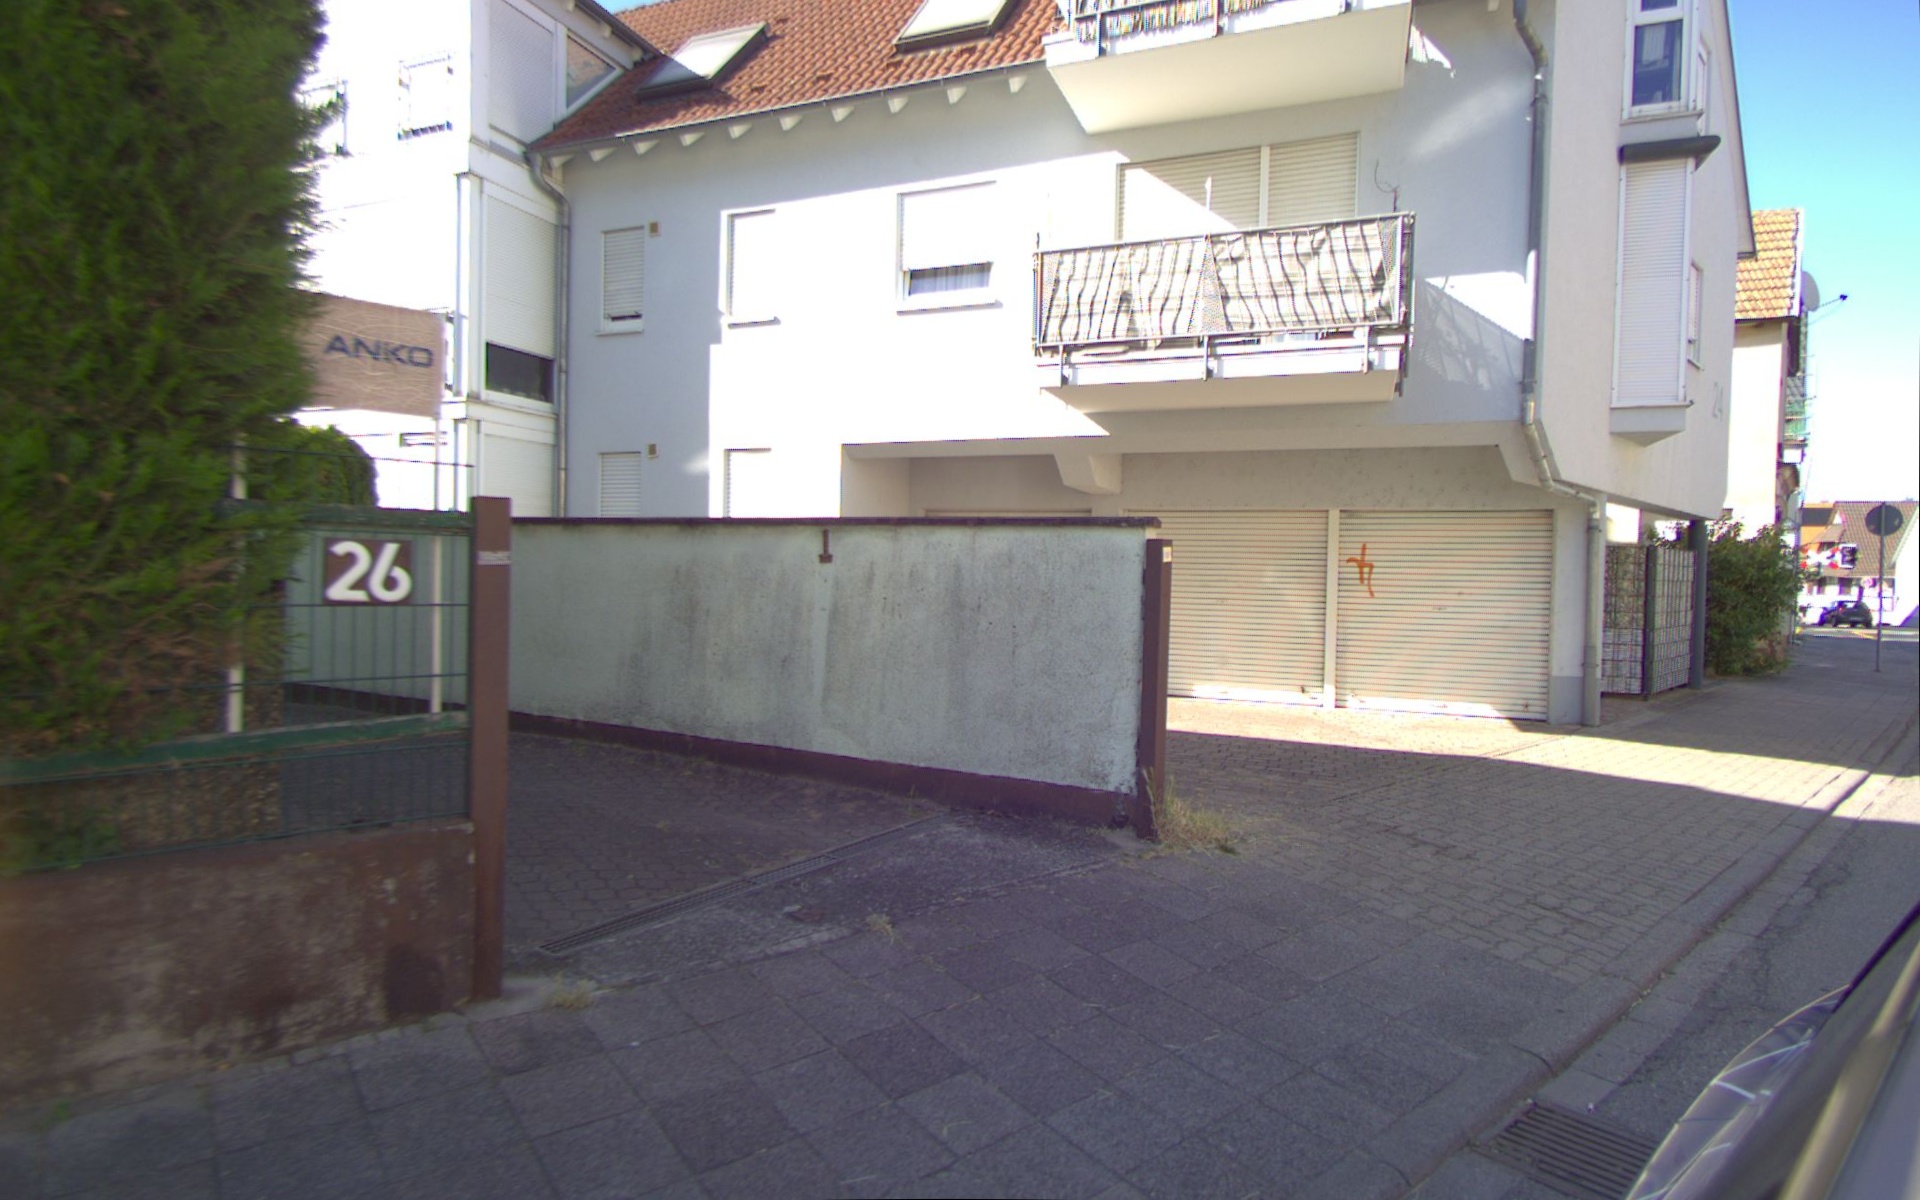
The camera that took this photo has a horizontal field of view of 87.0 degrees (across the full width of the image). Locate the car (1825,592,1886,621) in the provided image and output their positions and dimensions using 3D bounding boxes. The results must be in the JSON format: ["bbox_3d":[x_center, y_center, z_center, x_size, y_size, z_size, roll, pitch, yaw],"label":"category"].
[{"bbox_3d":[49.528,0.312,56.014,1.532,1.476,3.682,3,2,26],"label":"car"}]
